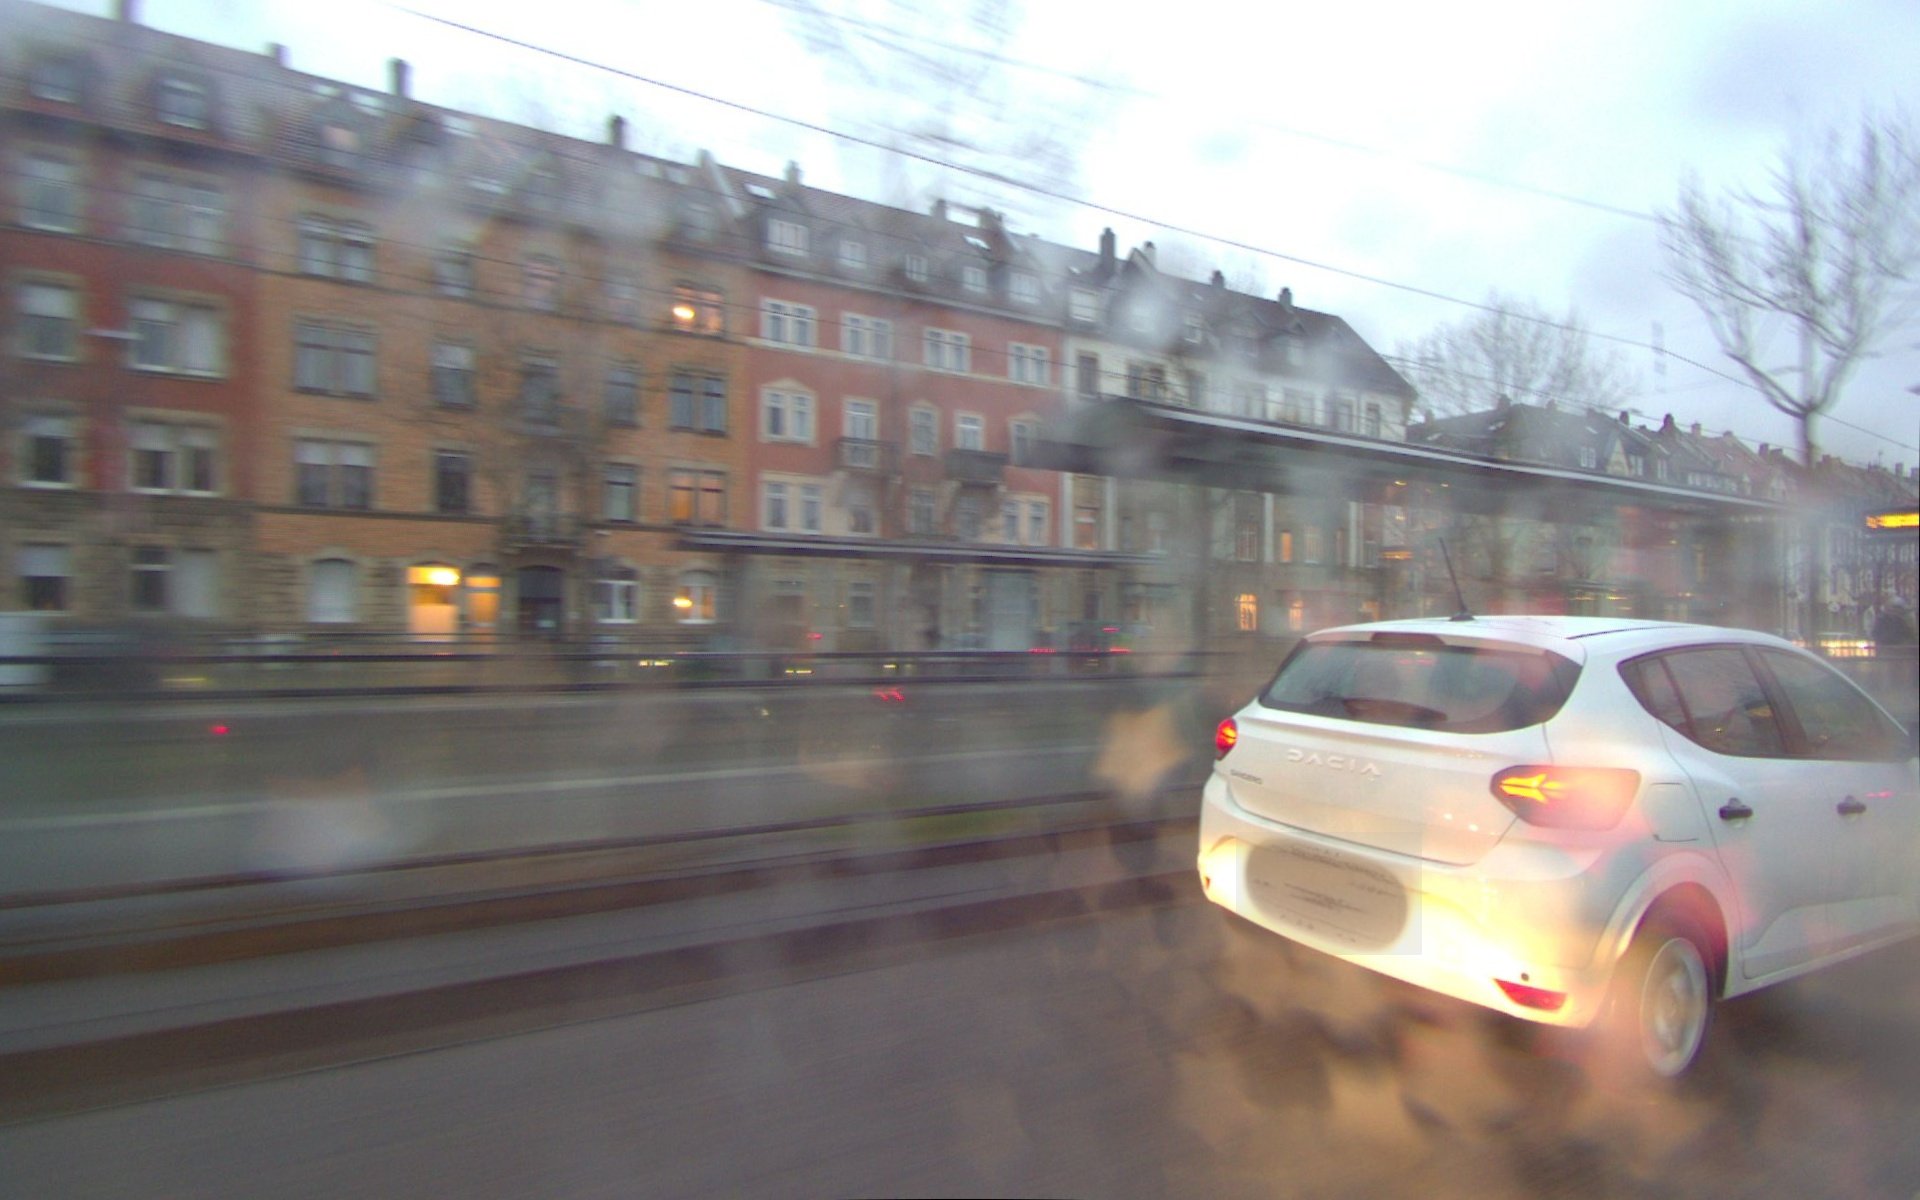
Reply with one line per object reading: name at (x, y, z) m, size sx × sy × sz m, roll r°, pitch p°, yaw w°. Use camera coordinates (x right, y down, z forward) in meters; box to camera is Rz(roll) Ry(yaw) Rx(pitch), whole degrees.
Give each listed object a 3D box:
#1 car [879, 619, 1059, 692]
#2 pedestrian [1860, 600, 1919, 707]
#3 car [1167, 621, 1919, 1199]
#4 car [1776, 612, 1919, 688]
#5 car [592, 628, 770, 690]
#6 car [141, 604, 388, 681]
car at (0.235, 1.303, 24.422) m, size 3.953 × 1.637 × 1.984 m, roll 1°, pitch -2°, yaw -31°
pedestrian at (14.773, 0.825, 15.882) m, size 0.740 × 1.627 × 0.705 m, roll 1°, pitch 0°, yaw -39°
car at (2.923, 0.853, 4.309) m, size 3.954 × 1.506 × 1.618 m, roll 0°, pitch -2°, yaw -31°
car at (23.398, 1.289, 26.241) m, size 3.954 × 1.847 × 1.984 m, roll 1°, pitch -3°, yaw -31°
car at (-6.843, 1.400, 24.735) m, size 3.953 × 1.415 × 1.652 m, roll 1°, pitch -2°, yaw -31°
car at (-13.849, 0.844, 20.322) m, size 3.953 × 1.416 × 1.803 m, roll 1°, pitch -2°, yaw -31°
